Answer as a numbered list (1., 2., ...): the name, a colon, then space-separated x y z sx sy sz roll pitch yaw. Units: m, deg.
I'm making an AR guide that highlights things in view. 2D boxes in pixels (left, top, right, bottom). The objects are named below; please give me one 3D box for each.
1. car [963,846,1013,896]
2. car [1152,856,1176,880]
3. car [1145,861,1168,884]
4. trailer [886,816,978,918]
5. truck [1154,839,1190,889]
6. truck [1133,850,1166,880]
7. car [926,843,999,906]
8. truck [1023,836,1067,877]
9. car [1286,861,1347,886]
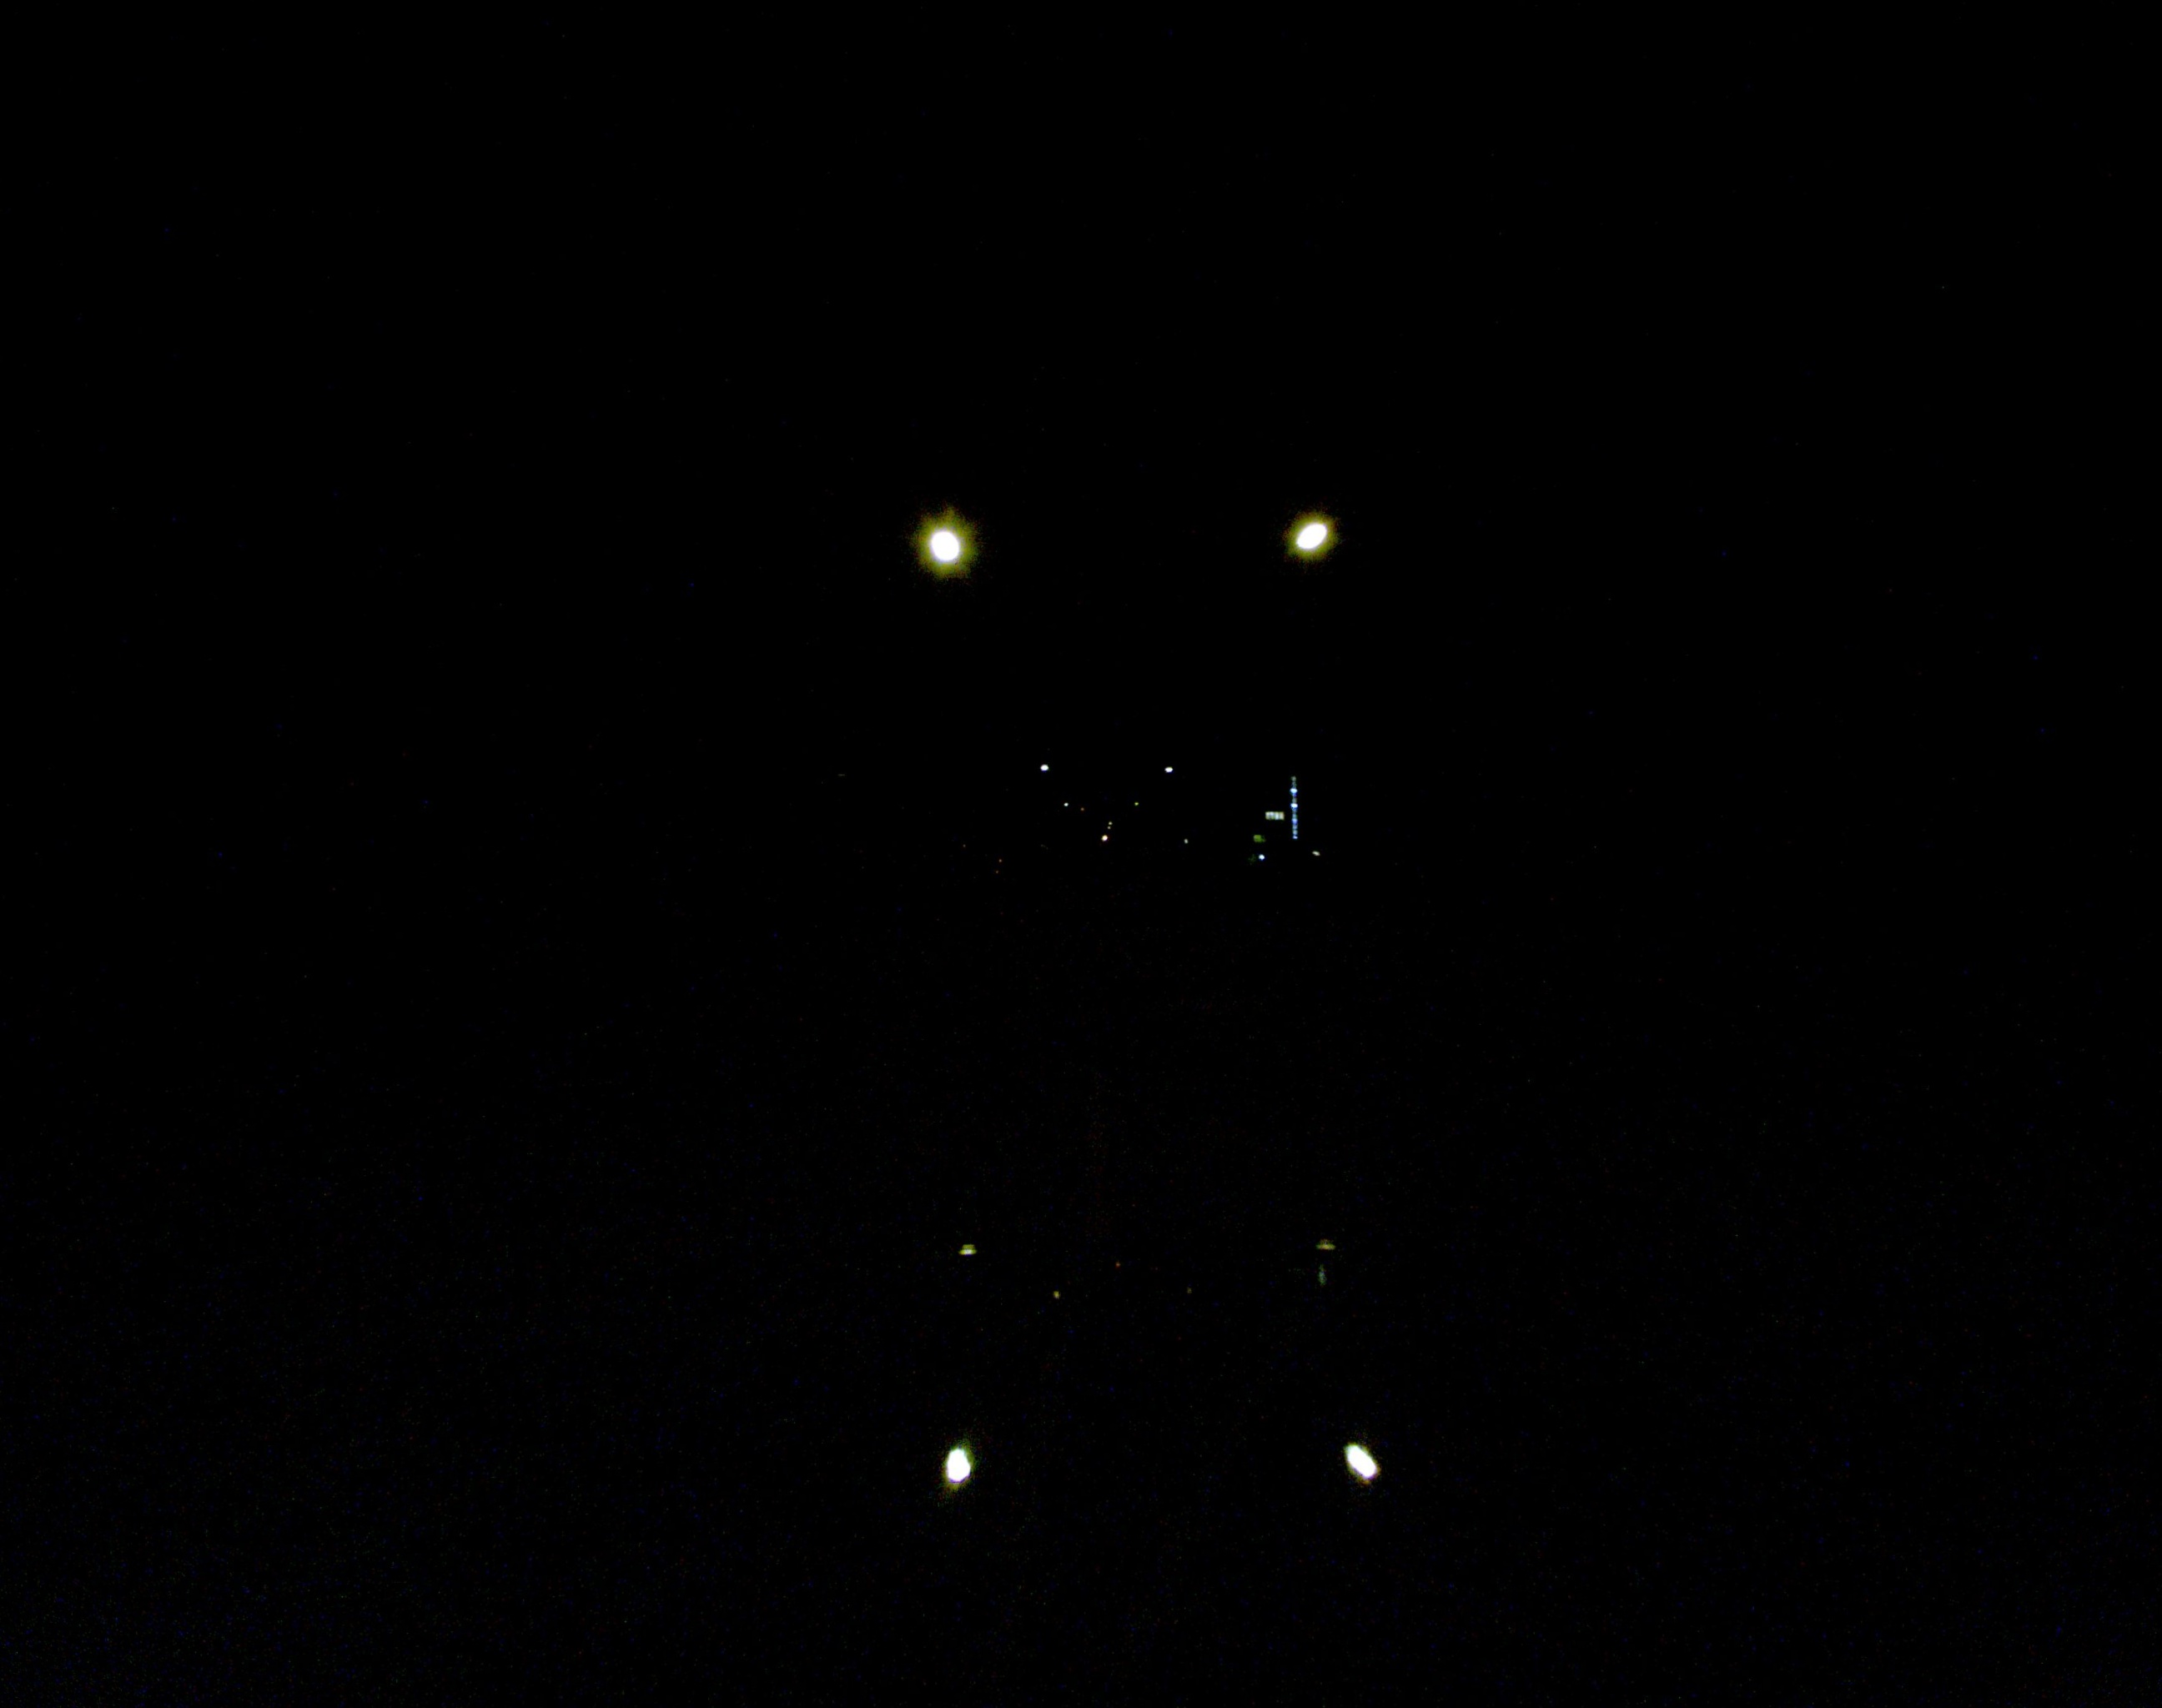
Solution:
1. car: -5.133 0.913 42.728 1.999 2.533 6.025 -3 0 -1
2. car: 8.718 1.459 80.536 2.145 2.299 4.469 -3 0 3
3. car: 8.917 2.142 90.302 1.999 2.429 5.744 -3 0 0
4. trailer: -5.315 0.437 27.719 2.404 3.306 4.362 -3 0 -1
5. truck: 8.412 0.758 71.393 2.644 4.290 12.825 -1 1 4
6. truck: 8.812 1.424 99.534 2.829 3.610 10.399 -3 0 -2
7. car: -5.269 0.853 34.808 1.945 2.533 6.647 -3 0 2
8. truck: -3.582 0.236 79.915 2.515 3.815 12.663 -3 0 6
9. car: 17.893 1.490 57.880 3.997 1.455 1.806 -6 0 -1
